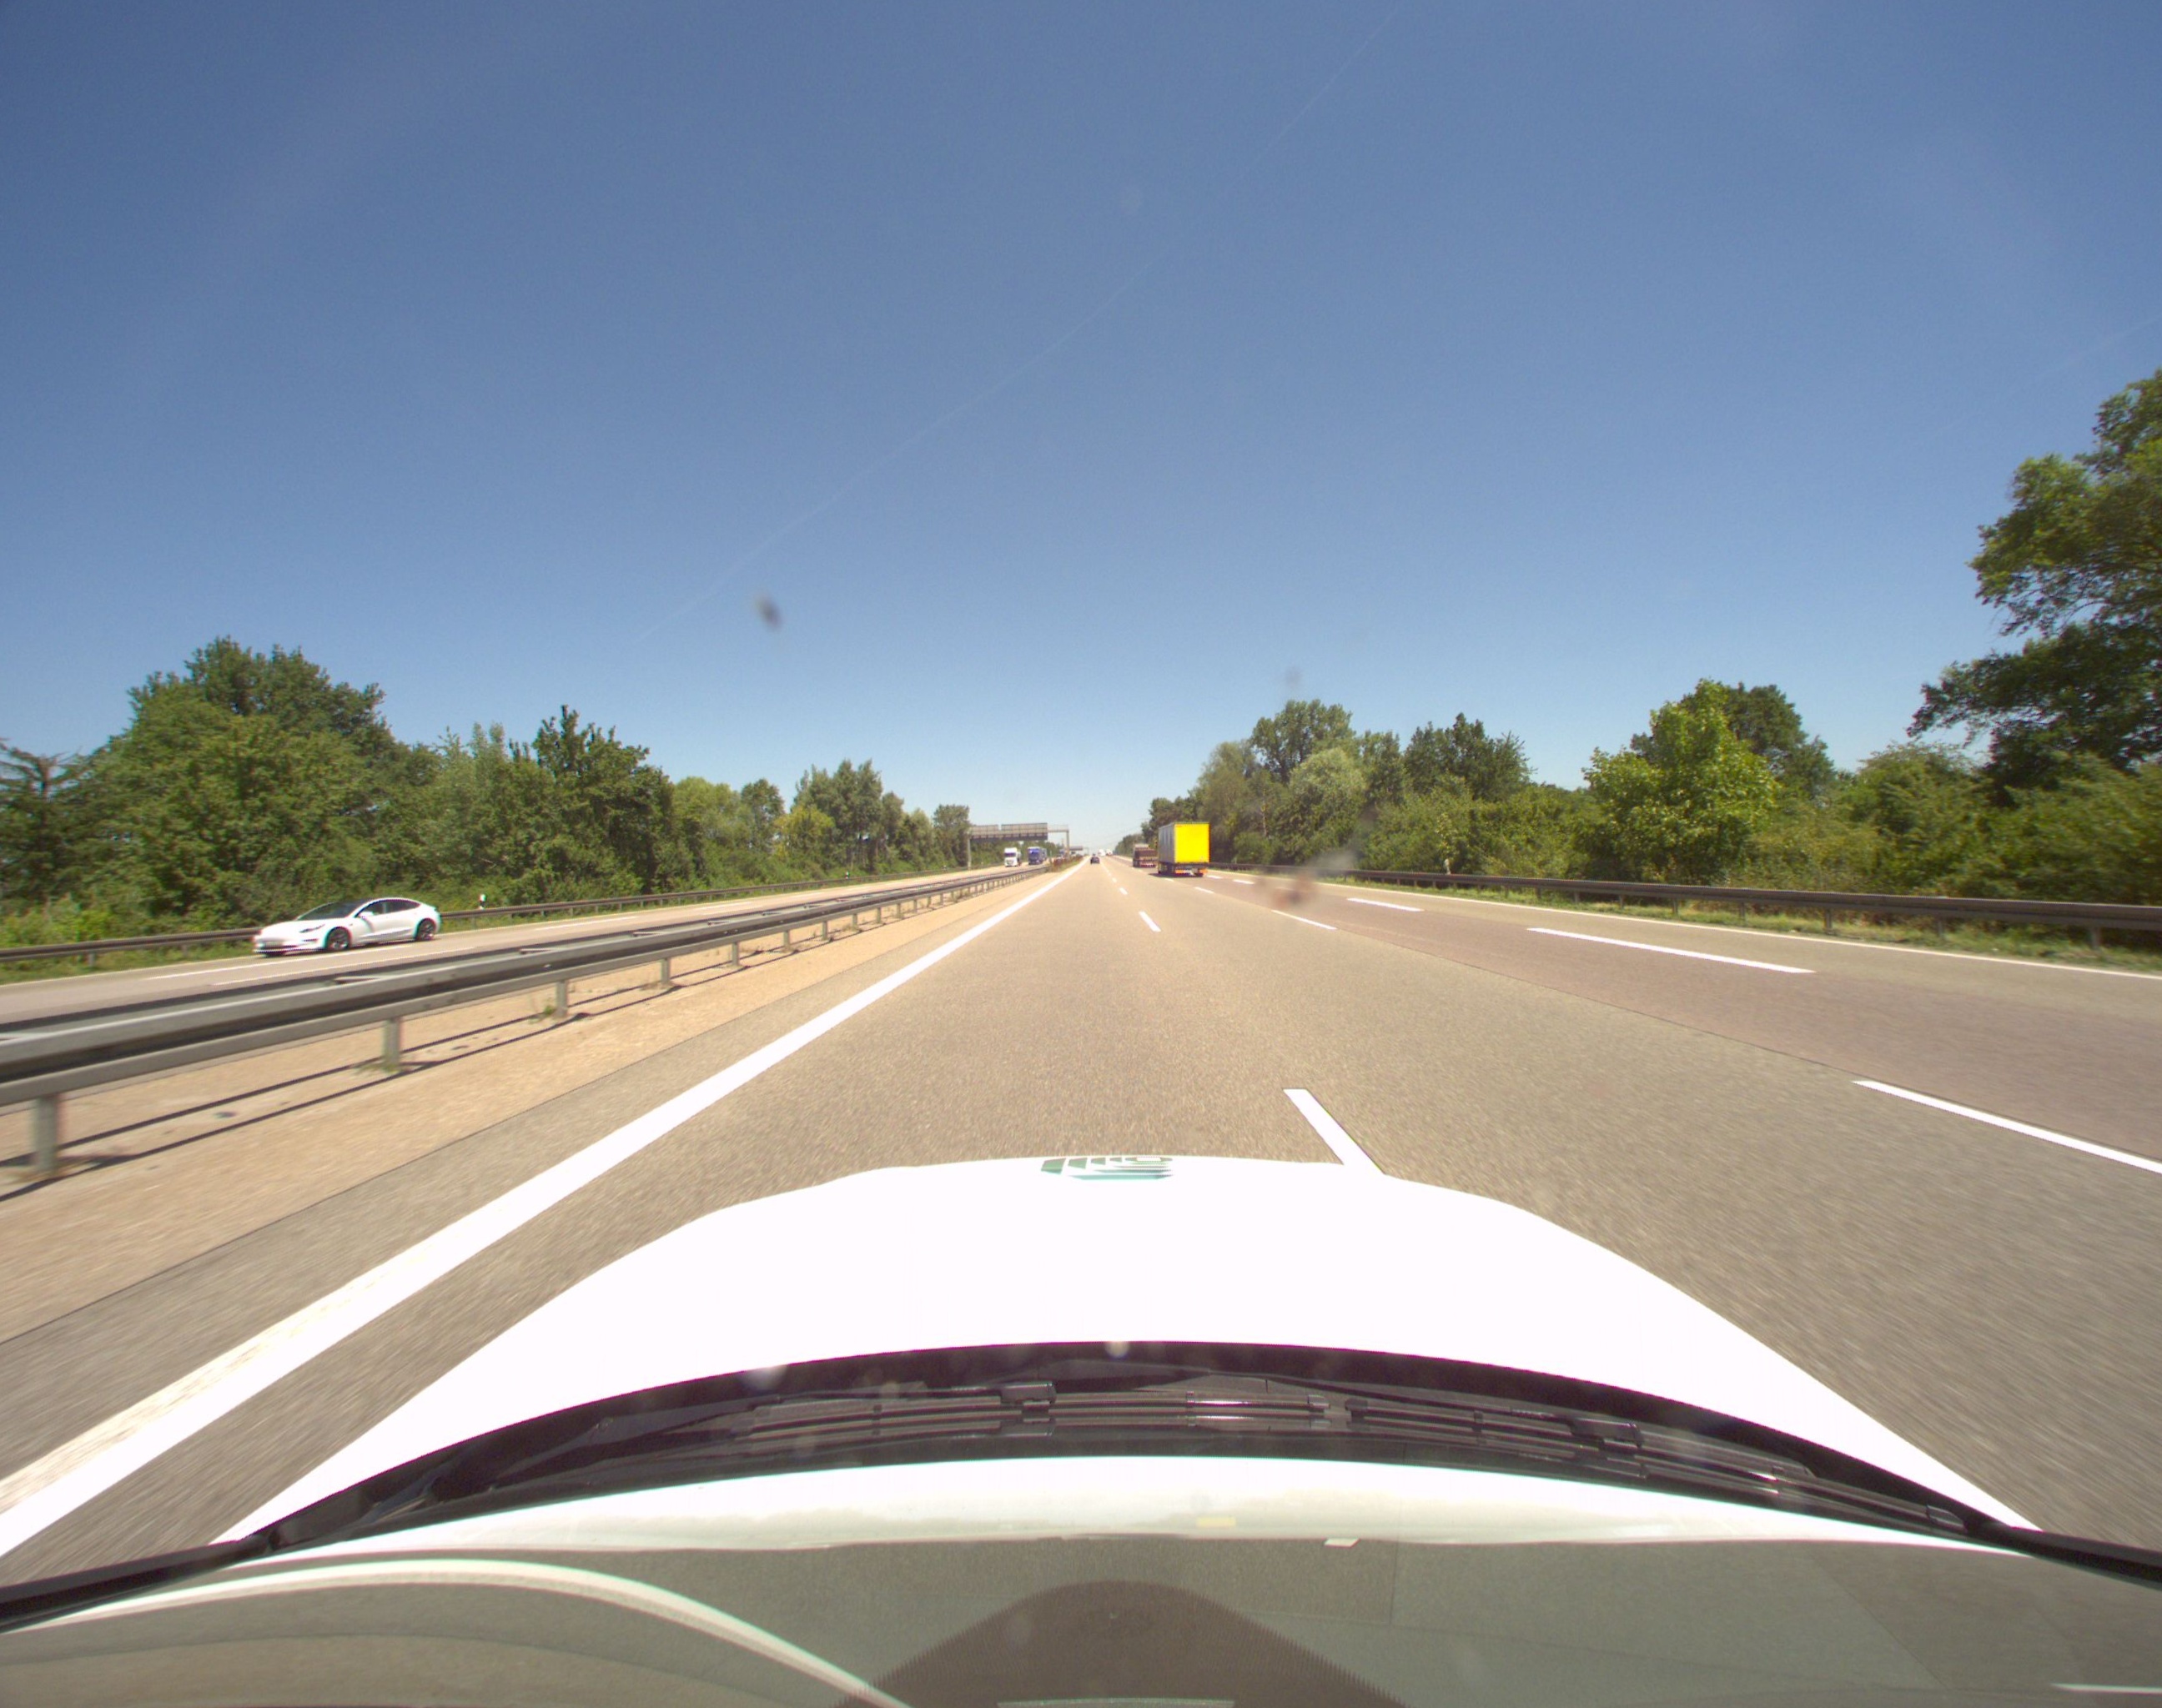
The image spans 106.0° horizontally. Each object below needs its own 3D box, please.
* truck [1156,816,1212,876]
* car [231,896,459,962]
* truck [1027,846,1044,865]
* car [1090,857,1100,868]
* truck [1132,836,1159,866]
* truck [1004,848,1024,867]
[{"bbox_3d":[8.284,-0.515,67.795,2.835,4.257,16.795,-2,-1,1],"label":"truck"},{"bbox_3d":[-21.165,2.091,23.794,1.986,1.412,4.975,-2,0,2],"label":"car"},{"bbox_3d":[-10.828,0.470,195.765,2.945,4.245,17.182,-2,0,1],"label":"truck"},{"bbox_3d":[2.768,1.673,159.158,1.785,2.014,3.888,-1,-1,1],"label":"car"},{"bbox_3d":[9.092,-0.331,117.077,2.958,3.957,16.617,-1,-1,1],"label":"truck"},{"bbox_3d":[-14.911,0.696,182.947,2.945,4.018,15.821,-2,0,1],"label":"truck"}]
